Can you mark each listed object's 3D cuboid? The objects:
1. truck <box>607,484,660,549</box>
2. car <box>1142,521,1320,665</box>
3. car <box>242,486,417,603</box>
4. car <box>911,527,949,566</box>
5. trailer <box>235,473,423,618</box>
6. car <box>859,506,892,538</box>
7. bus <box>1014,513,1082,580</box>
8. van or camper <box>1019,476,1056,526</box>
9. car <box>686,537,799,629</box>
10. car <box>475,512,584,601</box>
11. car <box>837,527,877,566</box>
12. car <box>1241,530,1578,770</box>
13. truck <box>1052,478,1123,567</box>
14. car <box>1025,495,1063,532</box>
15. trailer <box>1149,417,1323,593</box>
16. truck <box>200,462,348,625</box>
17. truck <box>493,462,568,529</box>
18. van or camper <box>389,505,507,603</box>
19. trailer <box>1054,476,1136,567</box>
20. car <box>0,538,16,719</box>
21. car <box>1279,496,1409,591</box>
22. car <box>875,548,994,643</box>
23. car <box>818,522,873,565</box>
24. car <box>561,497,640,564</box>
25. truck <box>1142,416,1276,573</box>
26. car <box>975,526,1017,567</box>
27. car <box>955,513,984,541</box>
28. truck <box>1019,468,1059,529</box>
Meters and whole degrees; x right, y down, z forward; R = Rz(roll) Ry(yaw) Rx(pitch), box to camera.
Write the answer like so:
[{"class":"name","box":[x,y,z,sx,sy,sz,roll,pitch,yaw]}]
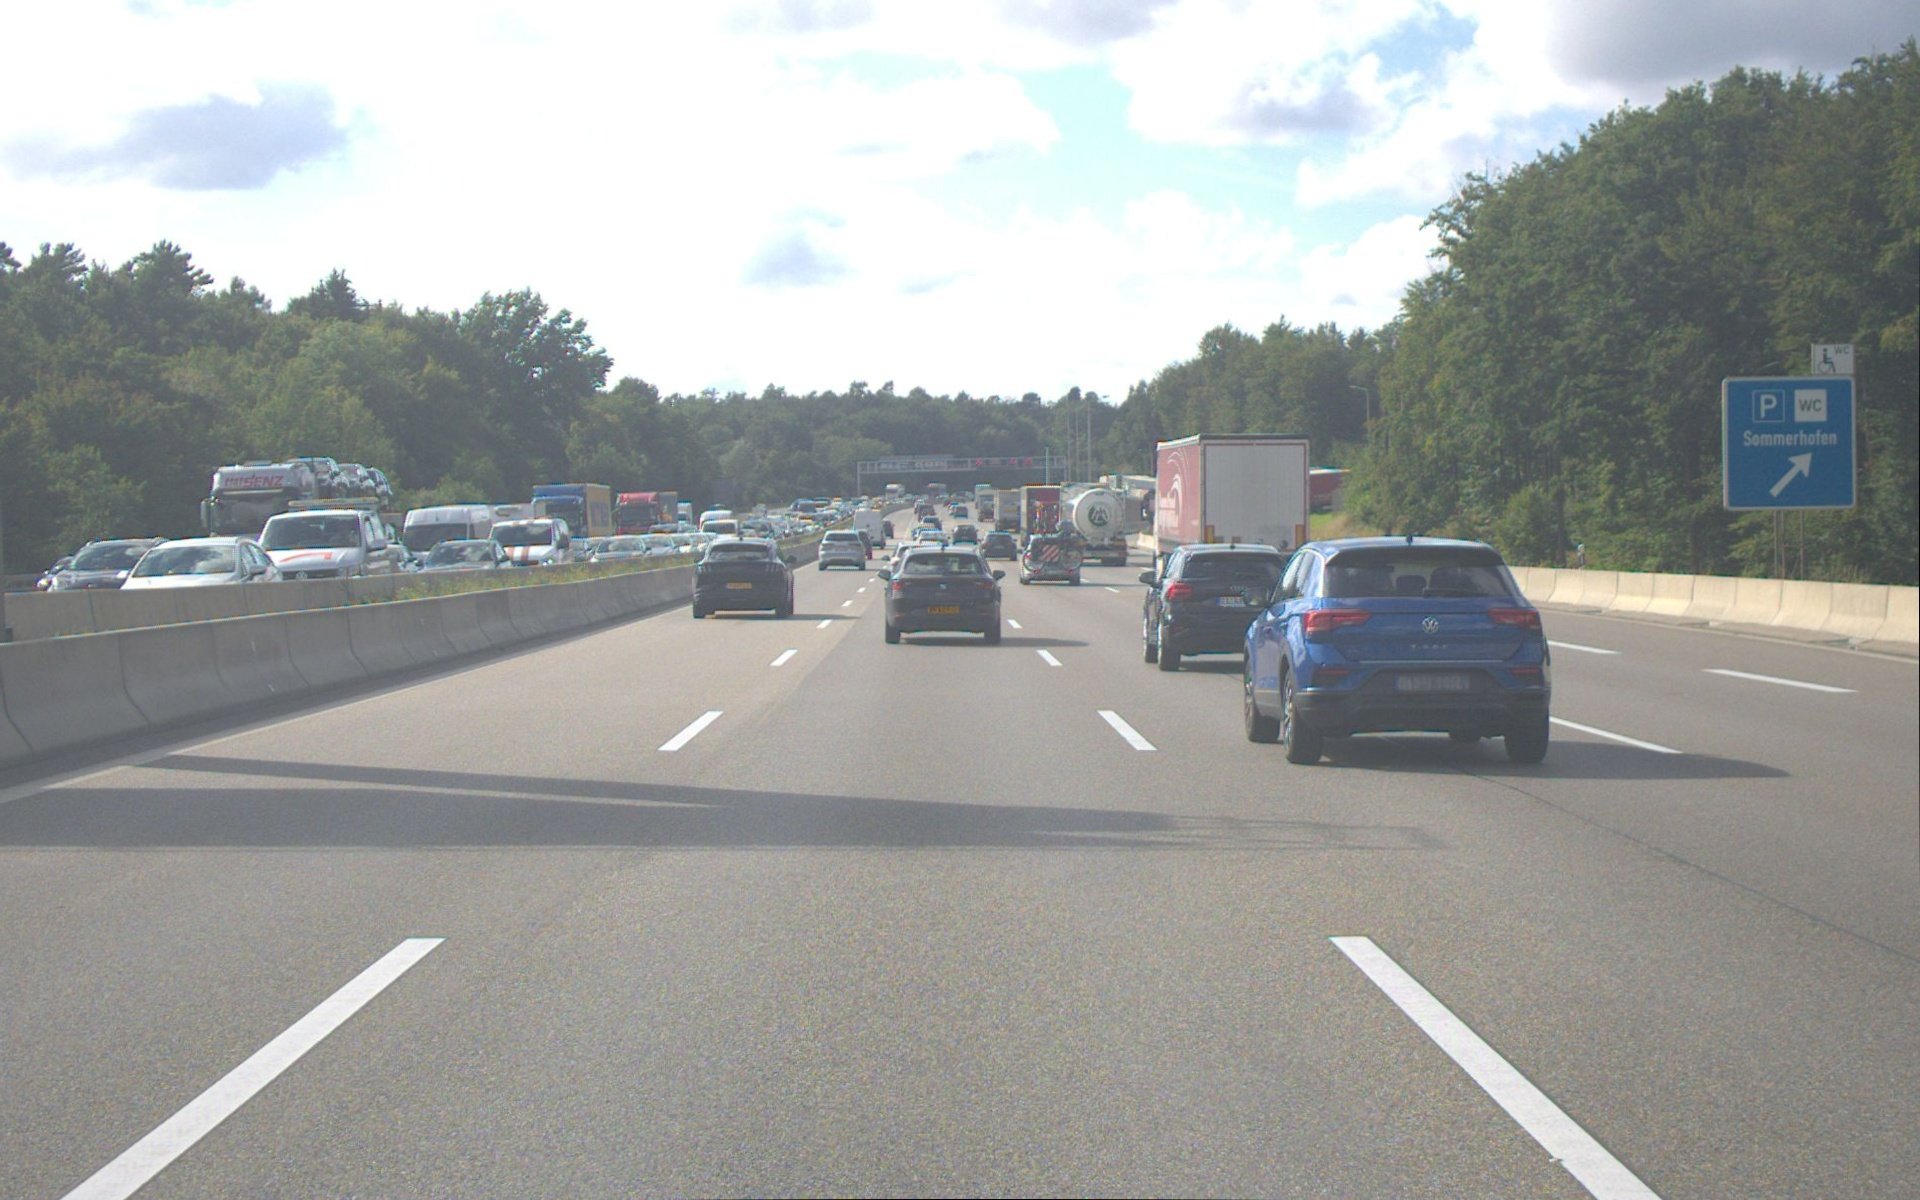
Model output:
[{"class":"truck","box":[-20.155,-5.156,212.346,2.775,3.924,6.854,0,2,-2]},{"class":"car","box":[3.229,-0.109,41.657,1.799,1.639,4.000,1,1,0]},{"class":"car","box":[-10.161,-0.900,55.703,2.086,1.795,4.179,1,1,-1]},{"class":"car","box":[-1.645,-2.917,187.694,1.993,2.007,4.000,-1,0,-1]},{"class":"trailer","box":[-18.631,-1.538,102.715,2.830,3.961,16.006,1,0,-1]},{"class":"car","box":[-5.360,-4.951,218.798,1.993,2.007,4.000,1,1,-1]},{"class":"bus","box":[2.732,-1.652,107.131,1.993,2.007,4.000,0,0,0]},{"class":"van or camper","box":[5.032,-6.463,224.605,2.351,3.133,5.710,0,0,1]},{"class":"car","box":[-4.314,-0.362,68.617,1.993,1.770,4.000,1,1,0]},{"class":"car","box":[-10.532,-1.041,84.455,1.993,2.093,5.278,0,0,0]},{"class":"car","box":[-5.361,-2.786,179.480,1.993,2.007,4.000,0,0,-1]},{"class":"car","box":[3.138,0.327,24.881,1.924,1.536,4.645,1,0,2]},{"class":"truck","box":[6.034,-3.667,163.338,3.045,4.146,7.127,0,1,0]},{"class":"car","box":[4.661,-4.804,191.428,1.993,2.007,4.000,0,0,-1]},{"class":"trailer","box":[6.734,-2.209,86.059,3.038,4.021,13.891,0,0,-1]},{"class":"truck","box":[-18.492,-1.537,92.961,2.853,4.219,5.713,1,1,0]},{"class":"truck","box":[-18.811,-4.562,150.936,2.328,2.792,7.950,2,1,-1]},{"class":"van or camper","box":[-14.779,-1.300,99.592,2.391,2.702,6.631,0,0,0]},{"class":"trailer","box":[6.142,-3.532,157.820,3.036,4.002,12.246,0,1,-1]},{"class":"car","box":[-10.360,0.306,32.109,1.767,1.792,4.939,1,1,-1]},{"class":"car","box":[6.439,-0.952,57.960,1.715,1.506,4.302,-1,1,0]},{"class":"car","box":[-0.375,-0.099,52.347,1.734,1.360,4.000,1,1,0]},{"class":"car","box":[-4.773,-2.352,143.450,2.154,1.770,4.000,1,1,0]},{"class":"car","box":[-11.300,-2.165,108.238,1.993,2.007,4.409,-1,0,0]},{"class":"truck","box":[6.678,-2.795,92.995,3.080,4.049,6.070,0,0,-1]},{"class":"car","box":[1.811,-2.712,173.349,1.993,2.007,4.000,1,1,-1]},{"class":"car","box":[0.684,-5.243,246.515,1.993,2.007,4.000,1,1,-1]},{"class":"truck","box":[4.968,-6.389,217.843,2.358,3.560,11.266,0,0,1]}]
